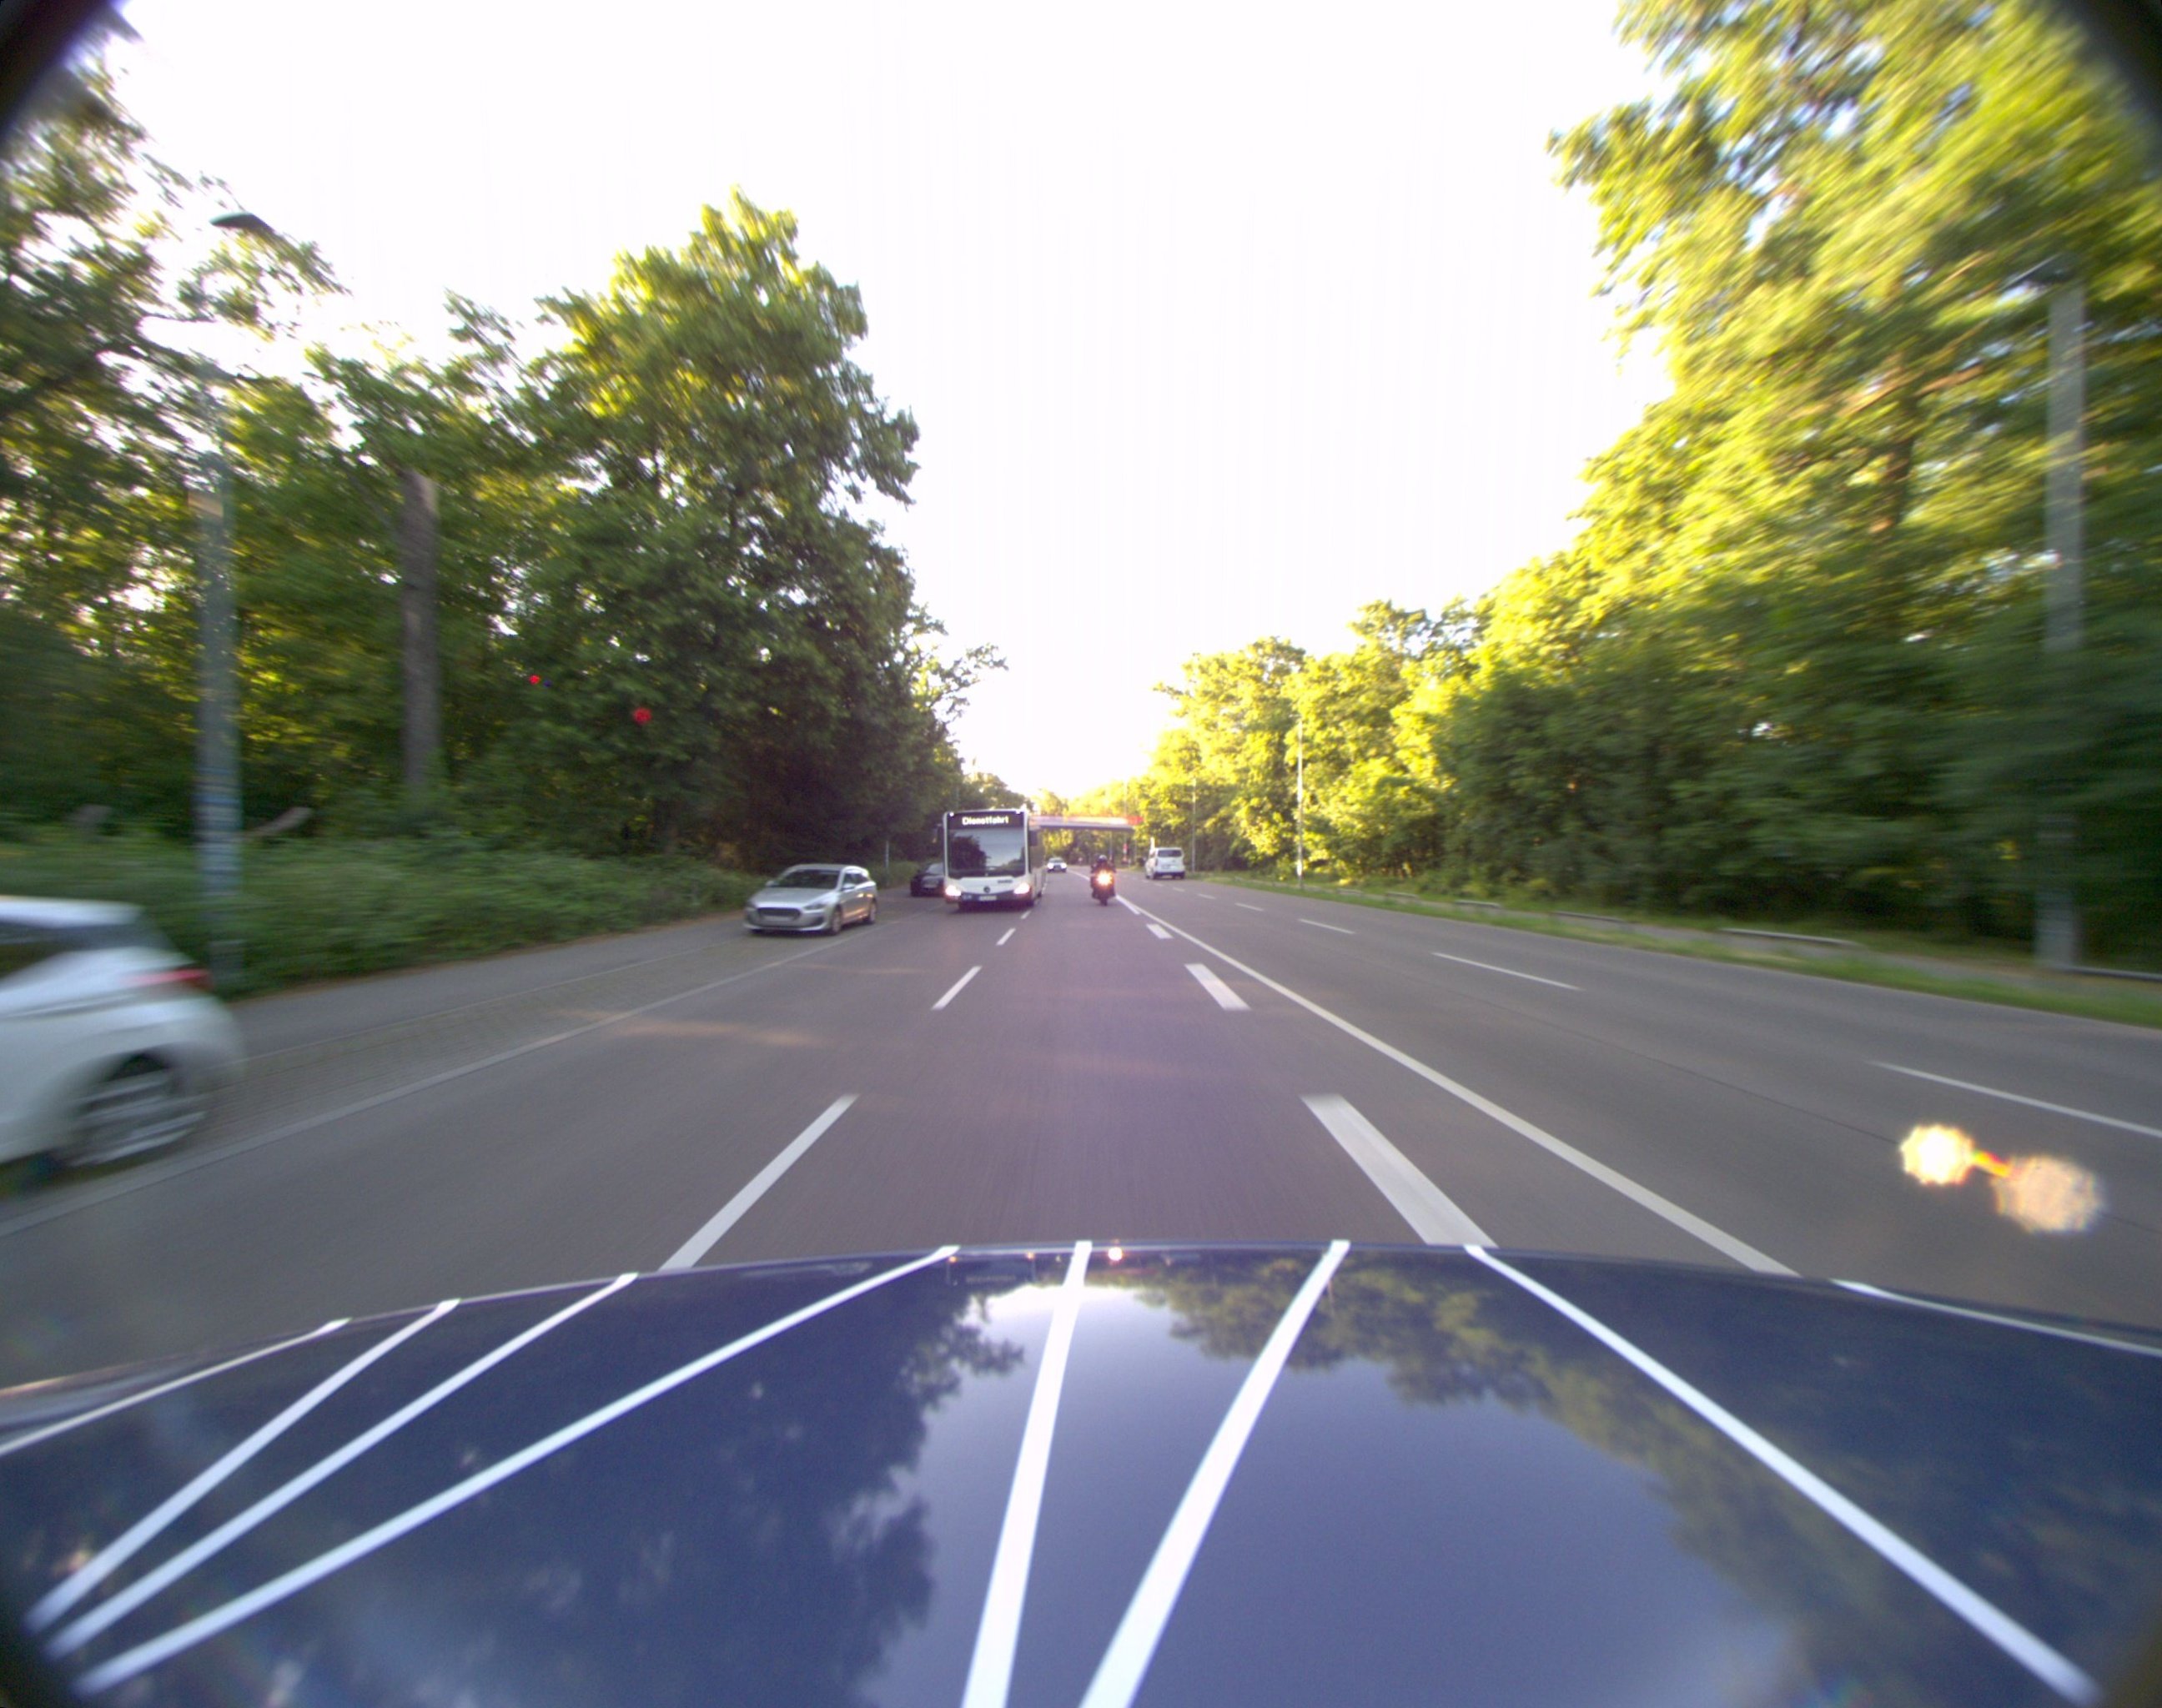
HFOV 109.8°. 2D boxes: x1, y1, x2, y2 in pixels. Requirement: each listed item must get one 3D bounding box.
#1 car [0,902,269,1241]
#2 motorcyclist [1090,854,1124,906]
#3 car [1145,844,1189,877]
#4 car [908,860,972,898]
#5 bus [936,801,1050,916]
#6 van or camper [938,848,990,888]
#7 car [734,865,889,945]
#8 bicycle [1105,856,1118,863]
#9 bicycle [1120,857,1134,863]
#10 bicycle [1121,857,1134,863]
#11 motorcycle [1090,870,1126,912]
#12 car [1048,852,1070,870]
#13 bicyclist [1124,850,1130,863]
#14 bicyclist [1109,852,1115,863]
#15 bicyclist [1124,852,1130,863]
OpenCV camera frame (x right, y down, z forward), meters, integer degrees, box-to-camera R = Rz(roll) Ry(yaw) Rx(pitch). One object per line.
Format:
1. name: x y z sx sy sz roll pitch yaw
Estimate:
1. car: -5.959 1.068 2.665 1.732 1.513 4.090 -1 0 2
2. motorcyclist: 0.783 0.790 23.357 0.953 1.523 1.074 -2 0 0
3. car: 5.435 0.376 48.805 1.999 1.981 4.995 -2 1 -3
4. car: -6.060 1.029 33.238 1.843 1.433 4.957 1 0 0
5. bus: -2.742 0.110 27.686 2.711 3.203 12.277 -1 0 0
6. van or camper: -6.022 0.692 39.635 1.897 1.937 5.133 0 0 0
7. car: -5.877 1.037 17.224 1.732 1.433 4.667 2 0 1
8. bicycle: 4.477 0.837 112.140 1.931 0.929 0.825 -1 0 4
9. bicycle: 6.853 0.925 113.039 1.931 0.929 0.825 0 0 4
10. bicycle: 6.816 0.917 111.739 1.931 0.929 0.825 -1 0 4
11. motorcycle: 0.804 1.099 23.549 0.956 1.098 3.339 -3 0 0
12. car: -2.278 0.675 77.795 1.999 1.761 4.229 -1 0 -5
13. bicyclist: 6.809 0.408 113.028 0.797 1.890 0.817 -1 0 4
14. bicyclist: 4.588 0.465 112.122 0.797 1.634 0.841 -1 0 4
15. bicyclist: 6.718 0.501 111.753 0.797 1.687 0.945 -1 0 4
